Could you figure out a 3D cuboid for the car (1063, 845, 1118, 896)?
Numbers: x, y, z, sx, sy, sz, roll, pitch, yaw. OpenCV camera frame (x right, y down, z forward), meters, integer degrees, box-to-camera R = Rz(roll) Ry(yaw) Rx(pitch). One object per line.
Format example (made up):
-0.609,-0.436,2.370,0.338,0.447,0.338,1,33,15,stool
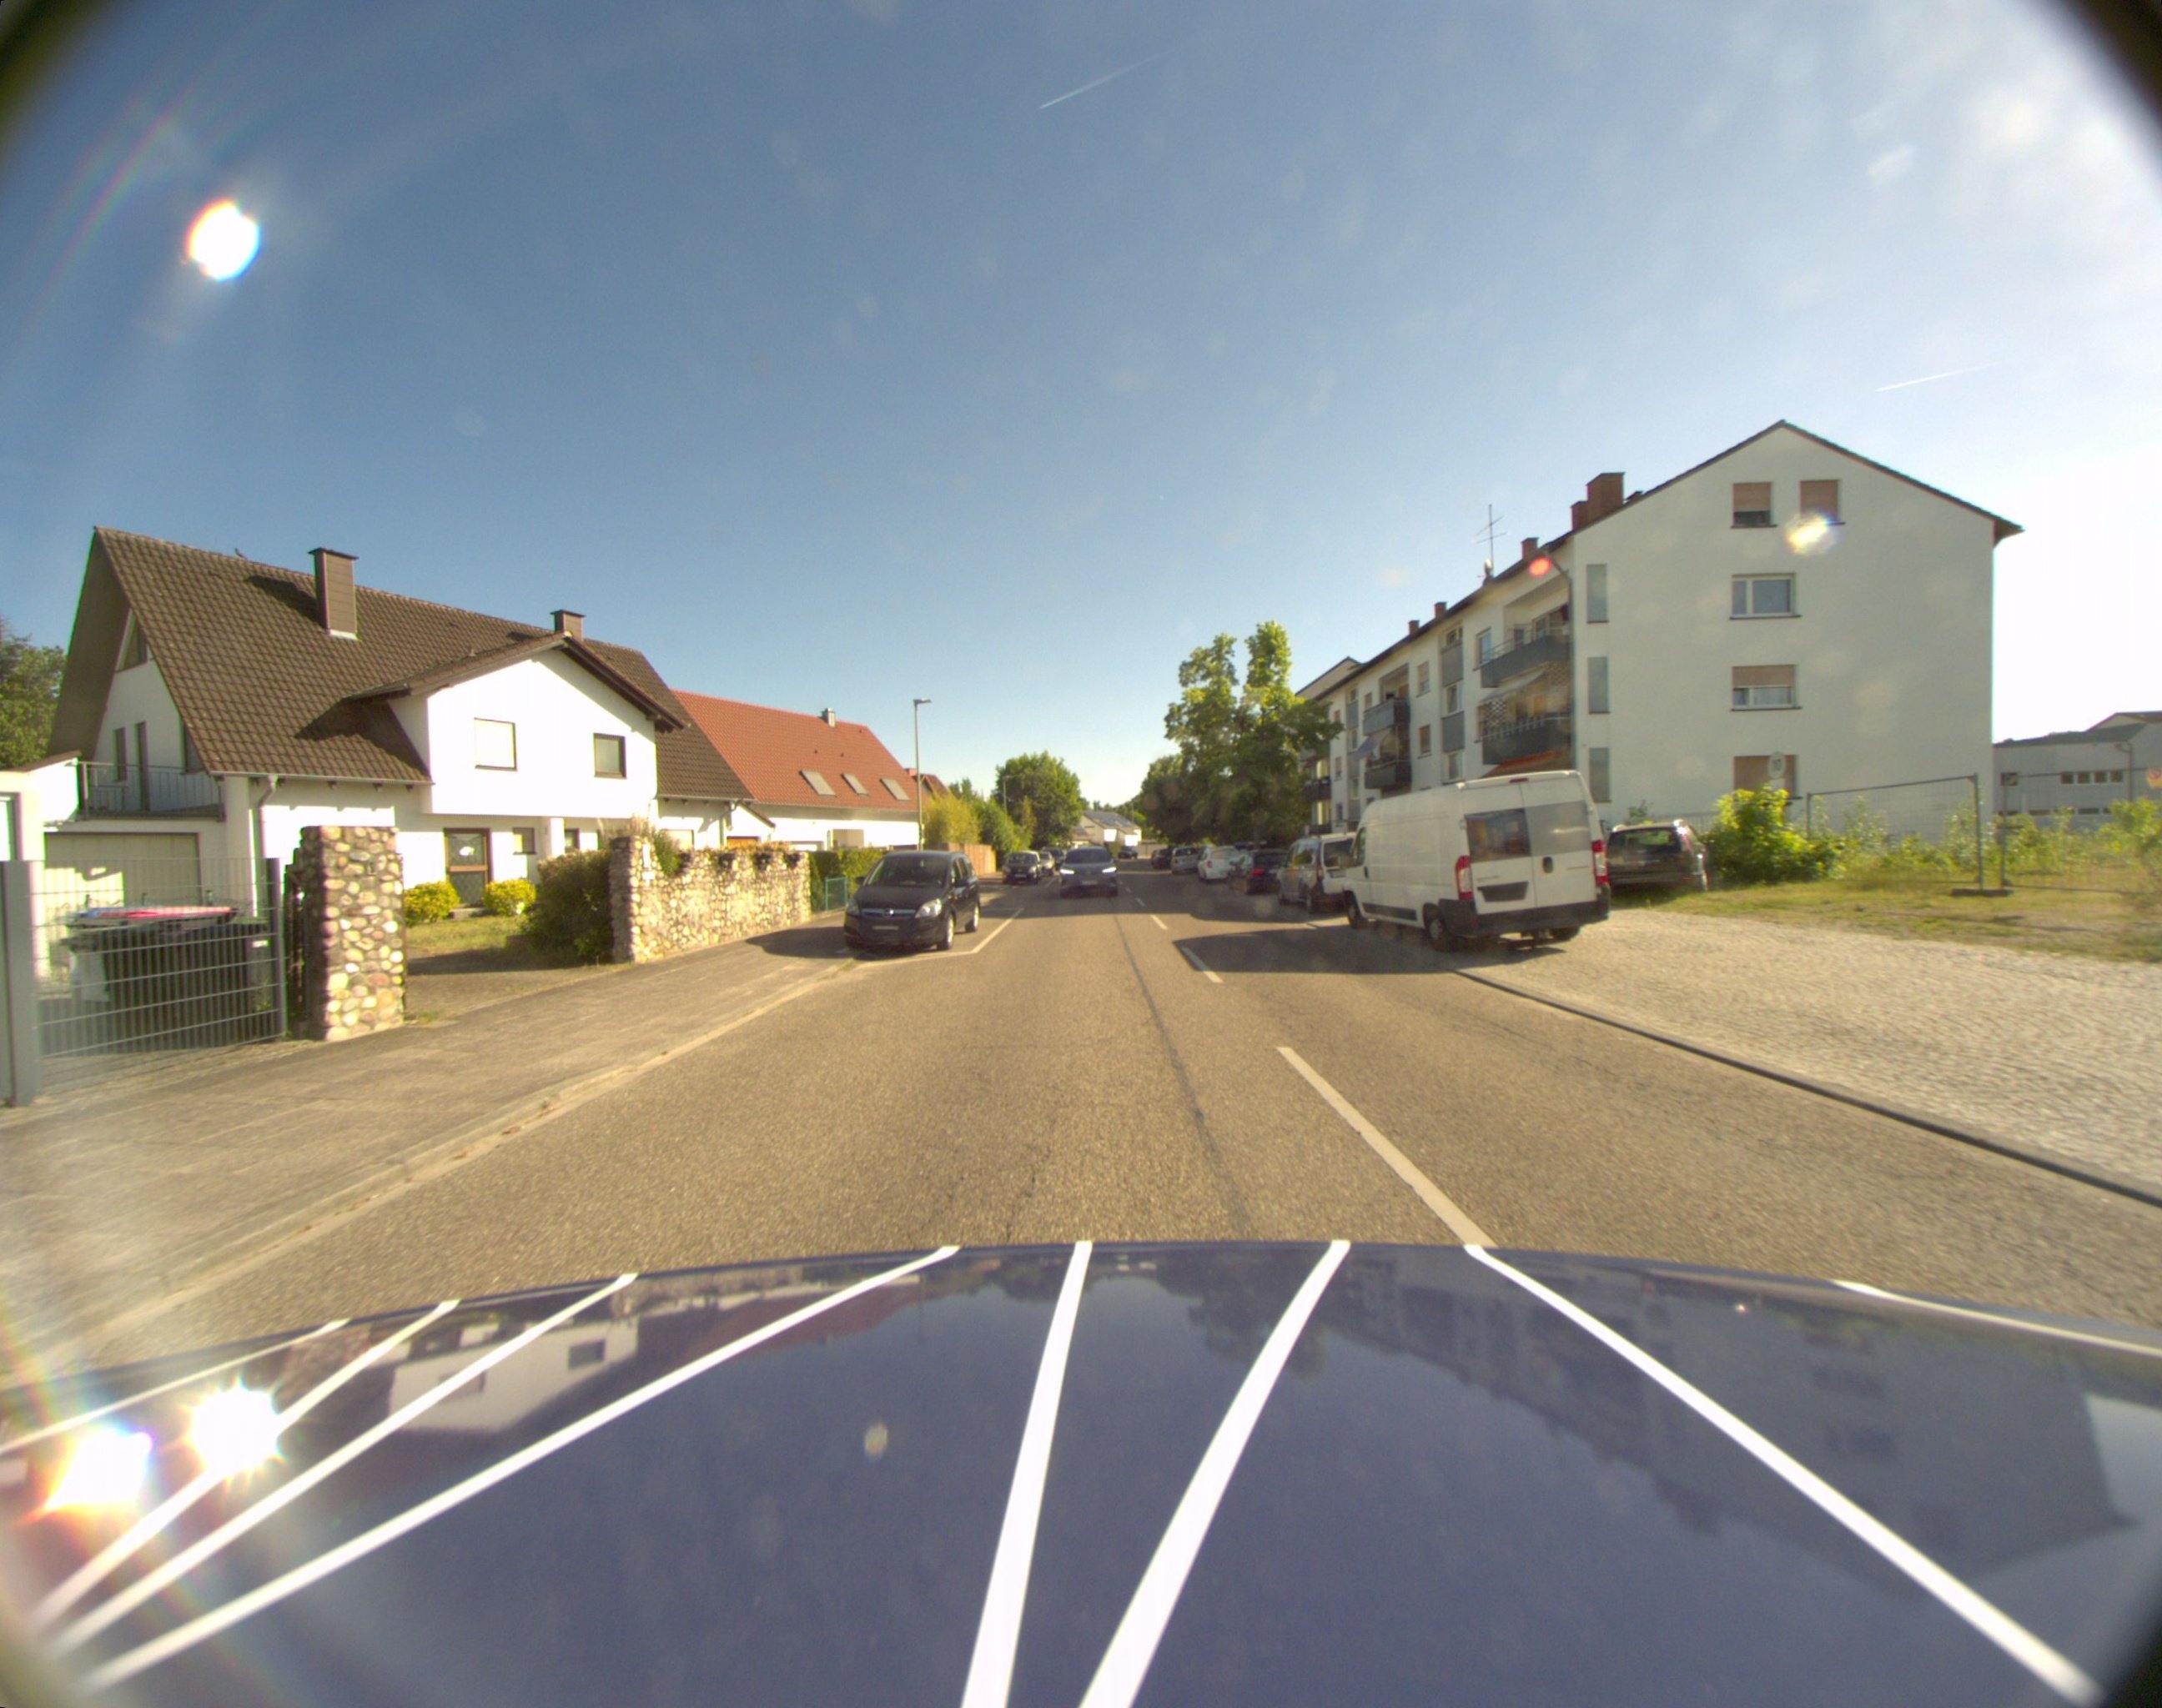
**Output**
0.304,0.524,26.566,1.777,1.624,3.703,-1,0,0,car

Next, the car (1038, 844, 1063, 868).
-2.332,0.148,59.603,1.747,1.802,4.428,-1,1,0,car

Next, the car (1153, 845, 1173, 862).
8.139,-0.093,75.017,1.660,1.485,3.911,-5,0,10,car

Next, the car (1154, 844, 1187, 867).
6.620,0.066,56.839,1.726,1.485,4.542,-7,1,-1,car

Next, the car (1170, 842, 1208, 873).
6.320,0.152,44.976,1.726,1.584,3.908,-7,1,3,car

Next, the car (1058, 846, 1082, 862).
-1.086,0.016,78.969,1.656,1.555,4.467,-1,1,10,car

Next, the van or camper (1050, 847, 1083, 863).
-1.869,0.149,99.677,3.843,2.002,1.954,-1,1,28,van or camper

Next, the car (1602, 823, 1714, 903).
12.587,0.114,16.471,1.610,1.505,4.396,-1,1,41,car

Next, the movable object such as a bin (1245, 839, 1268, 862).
11.890,-0.258,51.481,1.293,1.534,1.327,-2,1,3,movable object such as a bin

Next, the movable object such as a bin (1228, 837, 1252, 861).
11.278,-0.356,53.896,1.416,1.653,1.267,-2,1,3,movable object such as a bin

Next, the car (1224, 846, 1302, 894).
6.119,0.488,26.019,1.613,1.427,4.312,-3,1,0,car

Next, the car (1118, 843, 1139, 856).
6.590,-0.675,105.816,1.774,1.727,3.709,2,1,23,car

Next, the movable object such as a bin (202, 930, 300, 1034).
-8.249,1.248,7.559,0.372,0.920,0.555,-1,1,29,movable object such as a bin

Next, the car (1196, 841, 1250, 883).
6.012,0.307,32.496,1.696,1.557,3.907,-5,1,3,car

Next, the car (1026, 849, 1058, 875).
-2.369,0.436,46.843,1.646,1.485,3.889,-1,1,2,car

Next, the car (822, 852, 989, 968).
-2.914,0.848,13.639,1.780,1.649,4.303,-2,1,2,car

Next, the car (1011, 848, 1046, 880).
-2.803,0.515,40.963,1.729,1.591,3.814,-2,1,-3,car

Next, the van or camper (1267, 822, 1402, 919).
6.112,0.344,18.891,1.882,2.002,4.279,-5,1,1,van or camper

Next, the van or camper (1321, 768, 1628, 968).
6.120,0.162,12.882,2.128,2.475,5.554,-5,1,0,van or camper

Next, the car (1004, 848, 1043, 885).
-2.669,0.522,35.899,1.661,1.591,3.814,-2,1,-3,car
